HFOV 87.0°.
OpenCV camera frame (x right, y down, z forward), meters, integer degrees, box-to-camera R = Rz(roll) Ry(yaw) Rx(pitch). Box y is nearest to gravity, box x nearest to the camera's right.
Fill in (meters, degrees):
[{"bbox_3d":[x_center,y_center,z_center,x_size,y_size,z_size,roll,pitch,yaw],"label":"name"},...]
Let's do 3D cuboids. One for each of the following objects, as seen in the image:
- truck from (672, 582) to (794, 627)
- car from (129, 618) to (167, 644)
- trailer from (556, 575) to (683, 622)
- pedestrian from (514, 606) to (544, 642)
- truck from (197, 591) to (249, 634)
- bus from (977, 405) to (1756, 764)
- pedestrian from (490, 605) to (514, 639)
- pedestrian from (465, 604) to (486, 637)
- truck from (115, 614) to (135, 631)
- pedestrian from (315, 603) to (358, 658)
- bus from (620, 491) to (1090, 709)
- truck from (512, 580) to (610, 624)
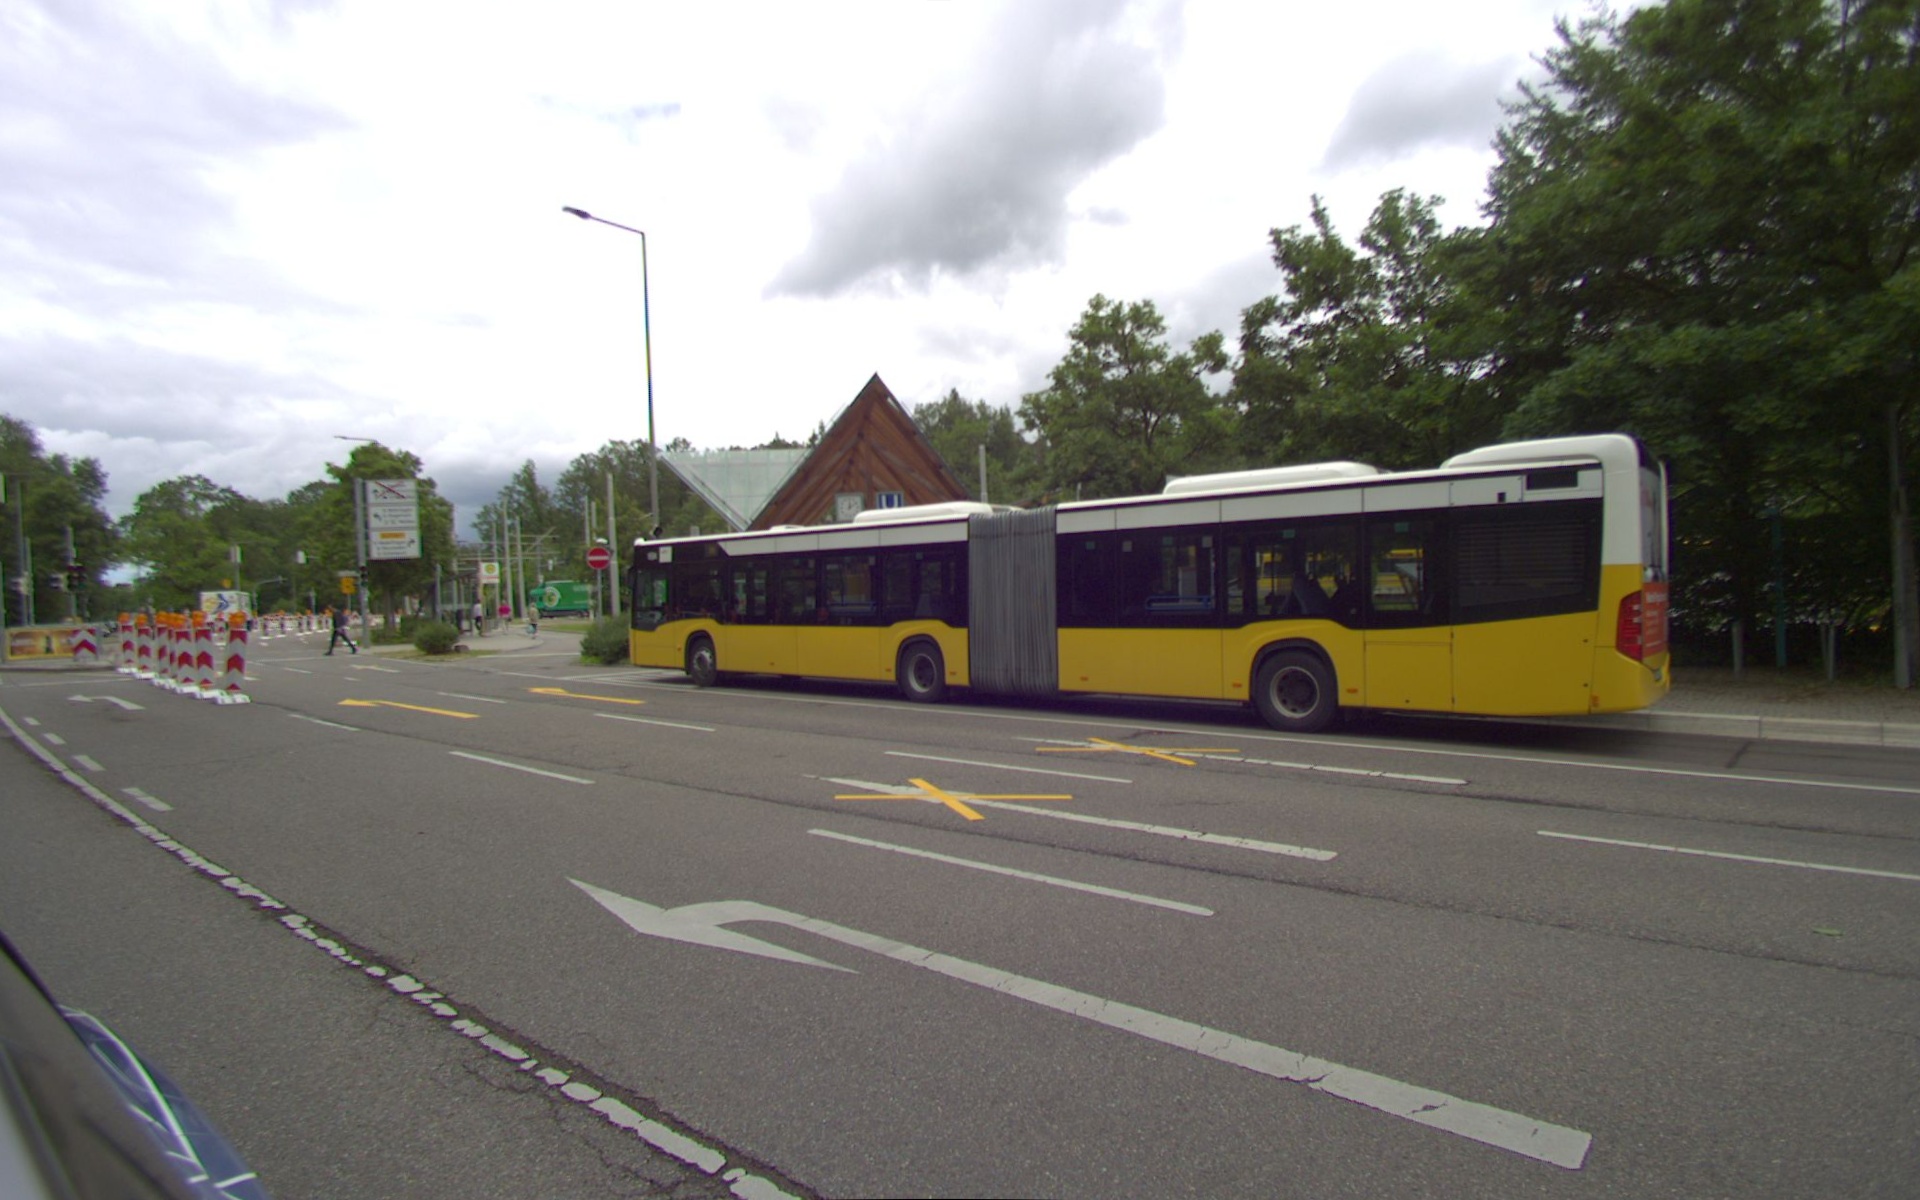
[{"bbox_3d":[-12.714,0.259,56.686,6.263,2.186,2.587,-3,1,24],"label":"truck"},{"bbox_3d":[-51.739,1.954,64.451,1.785,1.520,4.315,0,0,-40],"label":"car"},{"bbox_3d":[-33.390,-0.125,99.216,11.771,3.910,3.766,-3,1,18],"label":"trailer"},{"bbox_3d":[-18.875,1.047,44.335,0.866,1.536,0.766,-3,1,10],"label":"pedestrian"},{"bbox_3d":[-58.207,0.960,80.030,2.592,3.263,6.225,0,-1,-29],"label":"truck"},{"bbox_3d":[4.460,-0.080,12.829,8.690,3.150,2.869,-1,-1,41],"label":"bus"},{"bbox_3d":[-21.781,1.049,48.113,0.779,1.563,0.777,-3,1,-38],"label":"pedestrian"},{"bbox_3d":[-23.368,0.974,48.828,0.764,1.557,0.630,-3,2,-36],"label":"pedestrian"},{"bbox_3d":[-167.580,4.510,203.087,2.707,3.235,6.681,-4,1,-42],"label":"truck"},{"bbox_3d":[-21.634,1.058,35.134,0.979,1.822,0.767,-3,1,-8],"label":"pedestrian"},{"bbox_3d":[-2.463,0.069,18.917,9.755,3.150,2.869,-1,-1,41],"label":"bus"},{"bbox_3d":[-39.953,0.195,101.393,8.699,3.910,3.767,-3,1,18],"label":"truck"}]
